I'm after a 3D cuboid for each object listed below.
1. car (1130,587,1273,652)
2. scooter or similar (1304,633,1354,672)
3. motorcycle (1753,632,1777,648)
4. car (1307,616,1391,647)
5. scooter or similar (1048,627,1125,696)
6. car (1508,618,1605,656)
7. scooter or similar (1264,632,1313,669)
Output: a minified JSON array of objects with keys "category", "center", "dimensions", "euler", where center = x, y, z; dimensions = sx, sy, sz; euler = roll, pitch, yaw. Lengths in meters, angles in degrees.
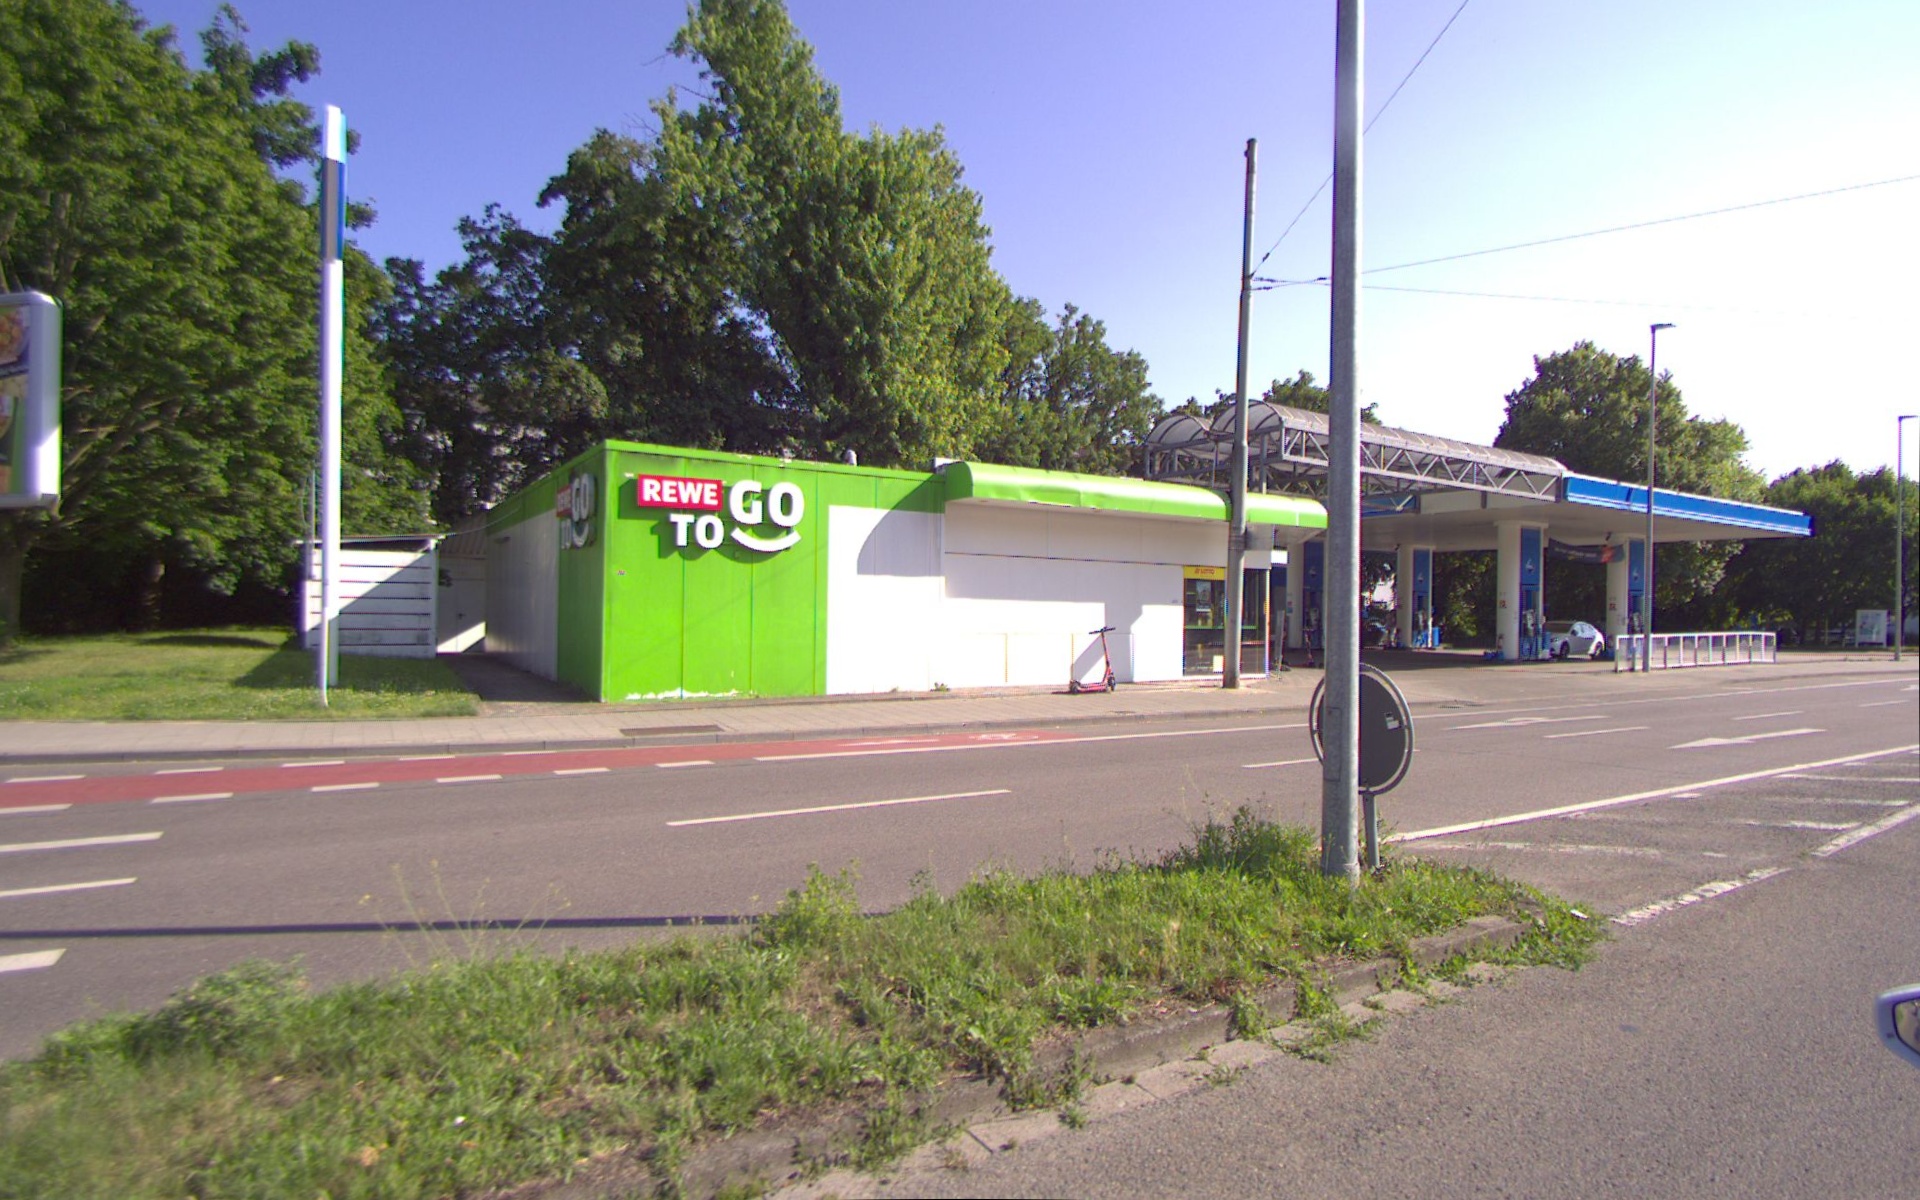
[{"category":"car","center":[7.802,0.610,32.859],"dimensions":[1.977,1.961,4.515],"euler":[1,-1,-31]},{"category":"scooter or similar","center":[10.069,1.414,27.441],"dimensions":[0.494,1.000,1.252],"euler":[1,-1,-32]},{"category":"motorcycle","center":[48.658,2.414,60.691],"dimensions":[1.653,0.913,0.667],"euler":[1,-1,-33]},{"category":"car","center":[18.404,1.466,47.500],"dimensions":[4.079,1.412,1.733],"euler":[1,-1,-35]},{"category":"scooter or similar","center":[2.338,1.118,18.572],"dimensions":[1.294,1.190,0.529],"euler":[1,5,-30]},{"category":"car","center":[23.415,1.422,39.389],"dimensions":[4.079,1.412,1.733],"euler":[1,-1,-35]},{"category":"scooter or similar","center":[9.338,1.417,28.568],"dimensions":[0.494,0.998,1.331],"euler":[1,-1,-32]}]
